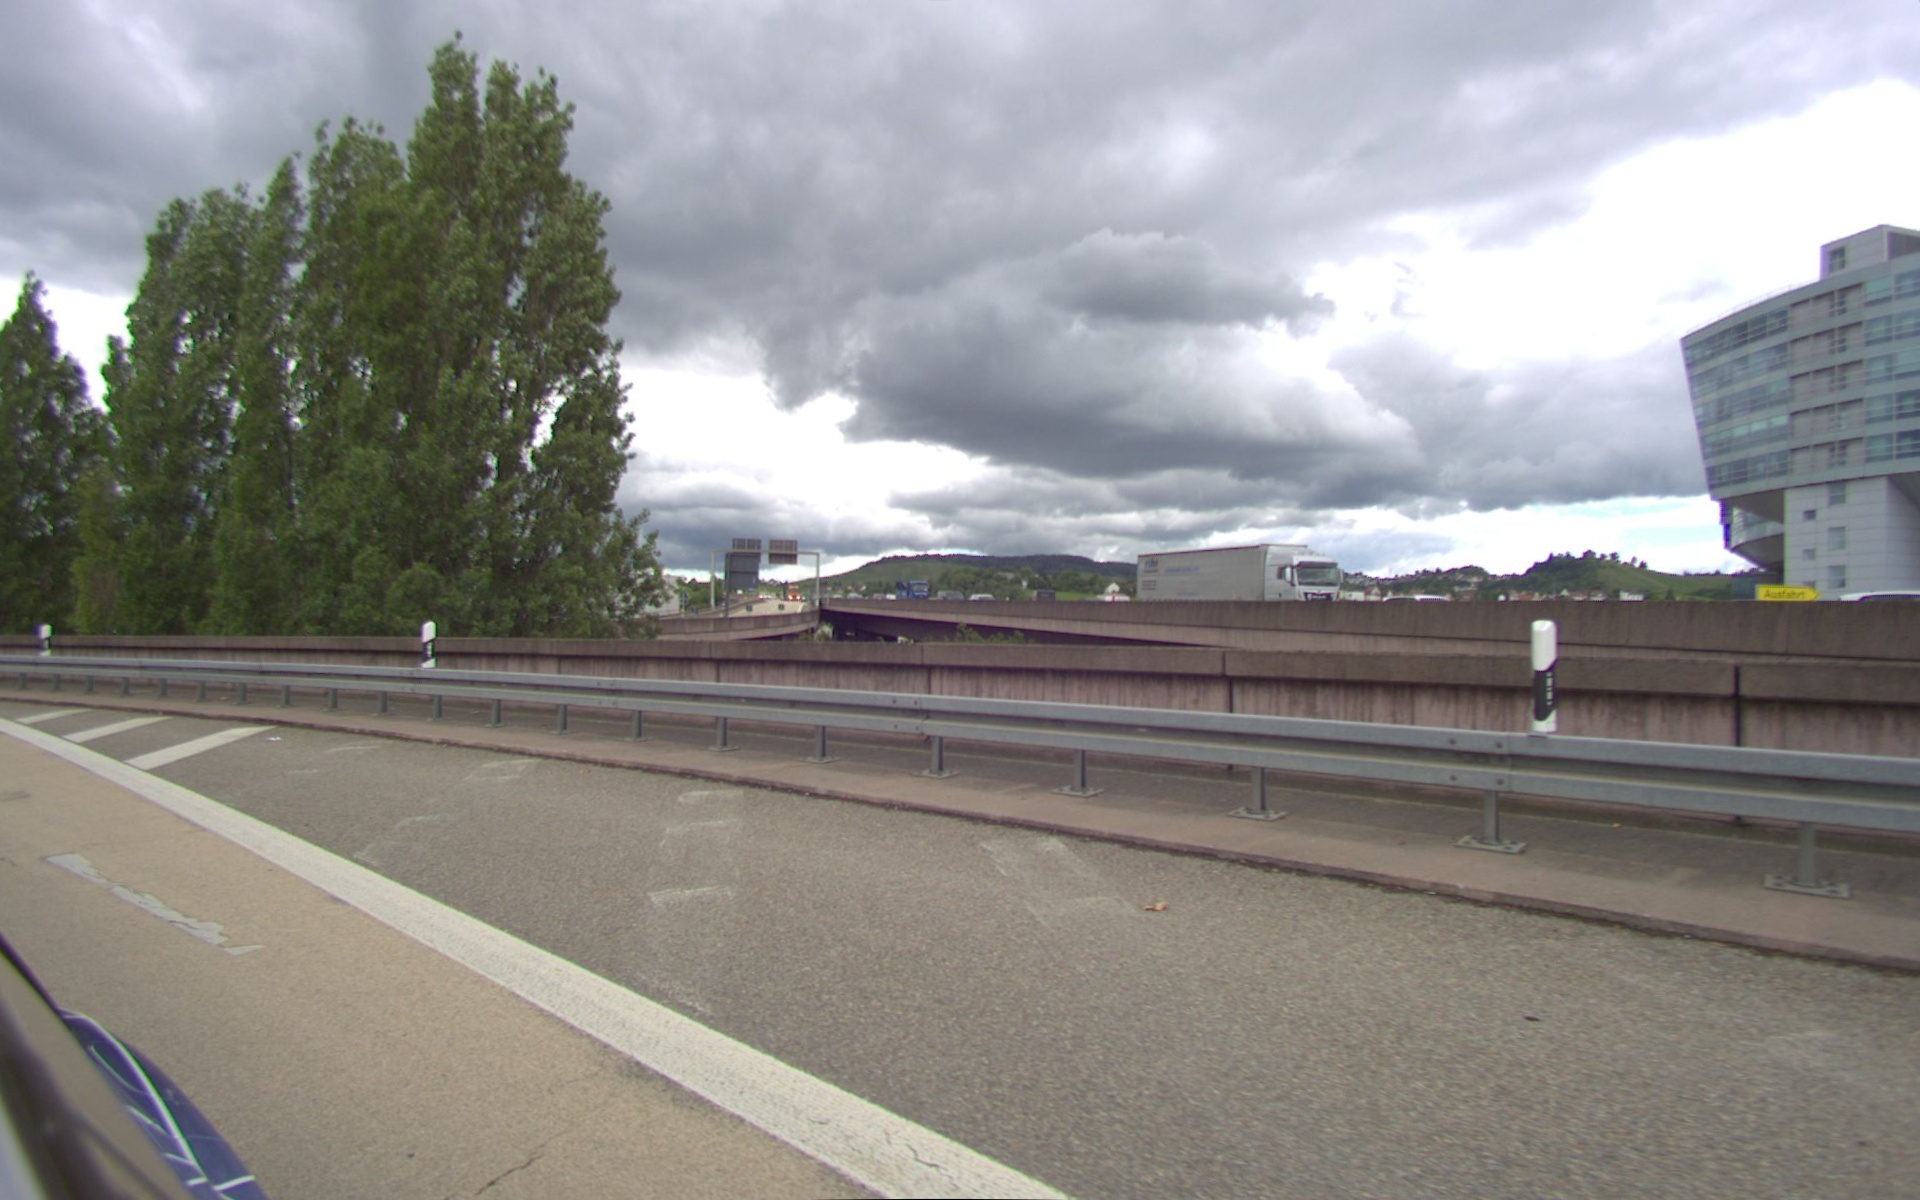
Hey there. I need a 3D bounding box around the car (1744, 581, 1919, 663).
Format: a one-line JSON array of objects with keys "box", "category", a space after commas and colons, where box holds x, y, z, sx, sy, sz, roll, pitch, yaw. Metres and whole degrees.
[{"box": [18.116, 0.405, 19.883, 1.685, 1.508, 4.011, -1, -1, -16], "category": "car"}]

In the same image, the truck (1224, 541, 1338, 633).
[{"box": [14.986, -0.574, 47.534, 2.817, 4.041, 4.806, -2, 0, -16], "category": "truck"}]

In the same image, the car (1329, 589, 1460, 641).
[{"box": [13.988, 0.479, 32.858, 1.759, 1.530, 4.011, -2, 0, -14], "category": "car"}]

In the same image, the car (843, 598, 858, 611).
[{"box": [-15.918, 0.646, 146.963, 1.968, 1.695, 4.008, -2, 0, -10], "category": "car"}]

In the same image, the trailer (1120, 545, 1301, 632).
[{"box": [12.971, -0.555, 54.716, 2.817, 4.041, 14.015, -2, 0, -16], "category": "trailer"}]

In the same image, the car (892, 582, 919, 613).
[{"box": [-6.775, -0.299, 125.422, 2.326, 3.688, 4.812, -3, 0, -14], "category": "car"}]

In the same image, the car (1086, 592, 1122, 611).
[{"box": [12.457, 0.173, 87.746, 1.660, 1.529, 3.660, -3, 0, -14], "category": "car"}]
